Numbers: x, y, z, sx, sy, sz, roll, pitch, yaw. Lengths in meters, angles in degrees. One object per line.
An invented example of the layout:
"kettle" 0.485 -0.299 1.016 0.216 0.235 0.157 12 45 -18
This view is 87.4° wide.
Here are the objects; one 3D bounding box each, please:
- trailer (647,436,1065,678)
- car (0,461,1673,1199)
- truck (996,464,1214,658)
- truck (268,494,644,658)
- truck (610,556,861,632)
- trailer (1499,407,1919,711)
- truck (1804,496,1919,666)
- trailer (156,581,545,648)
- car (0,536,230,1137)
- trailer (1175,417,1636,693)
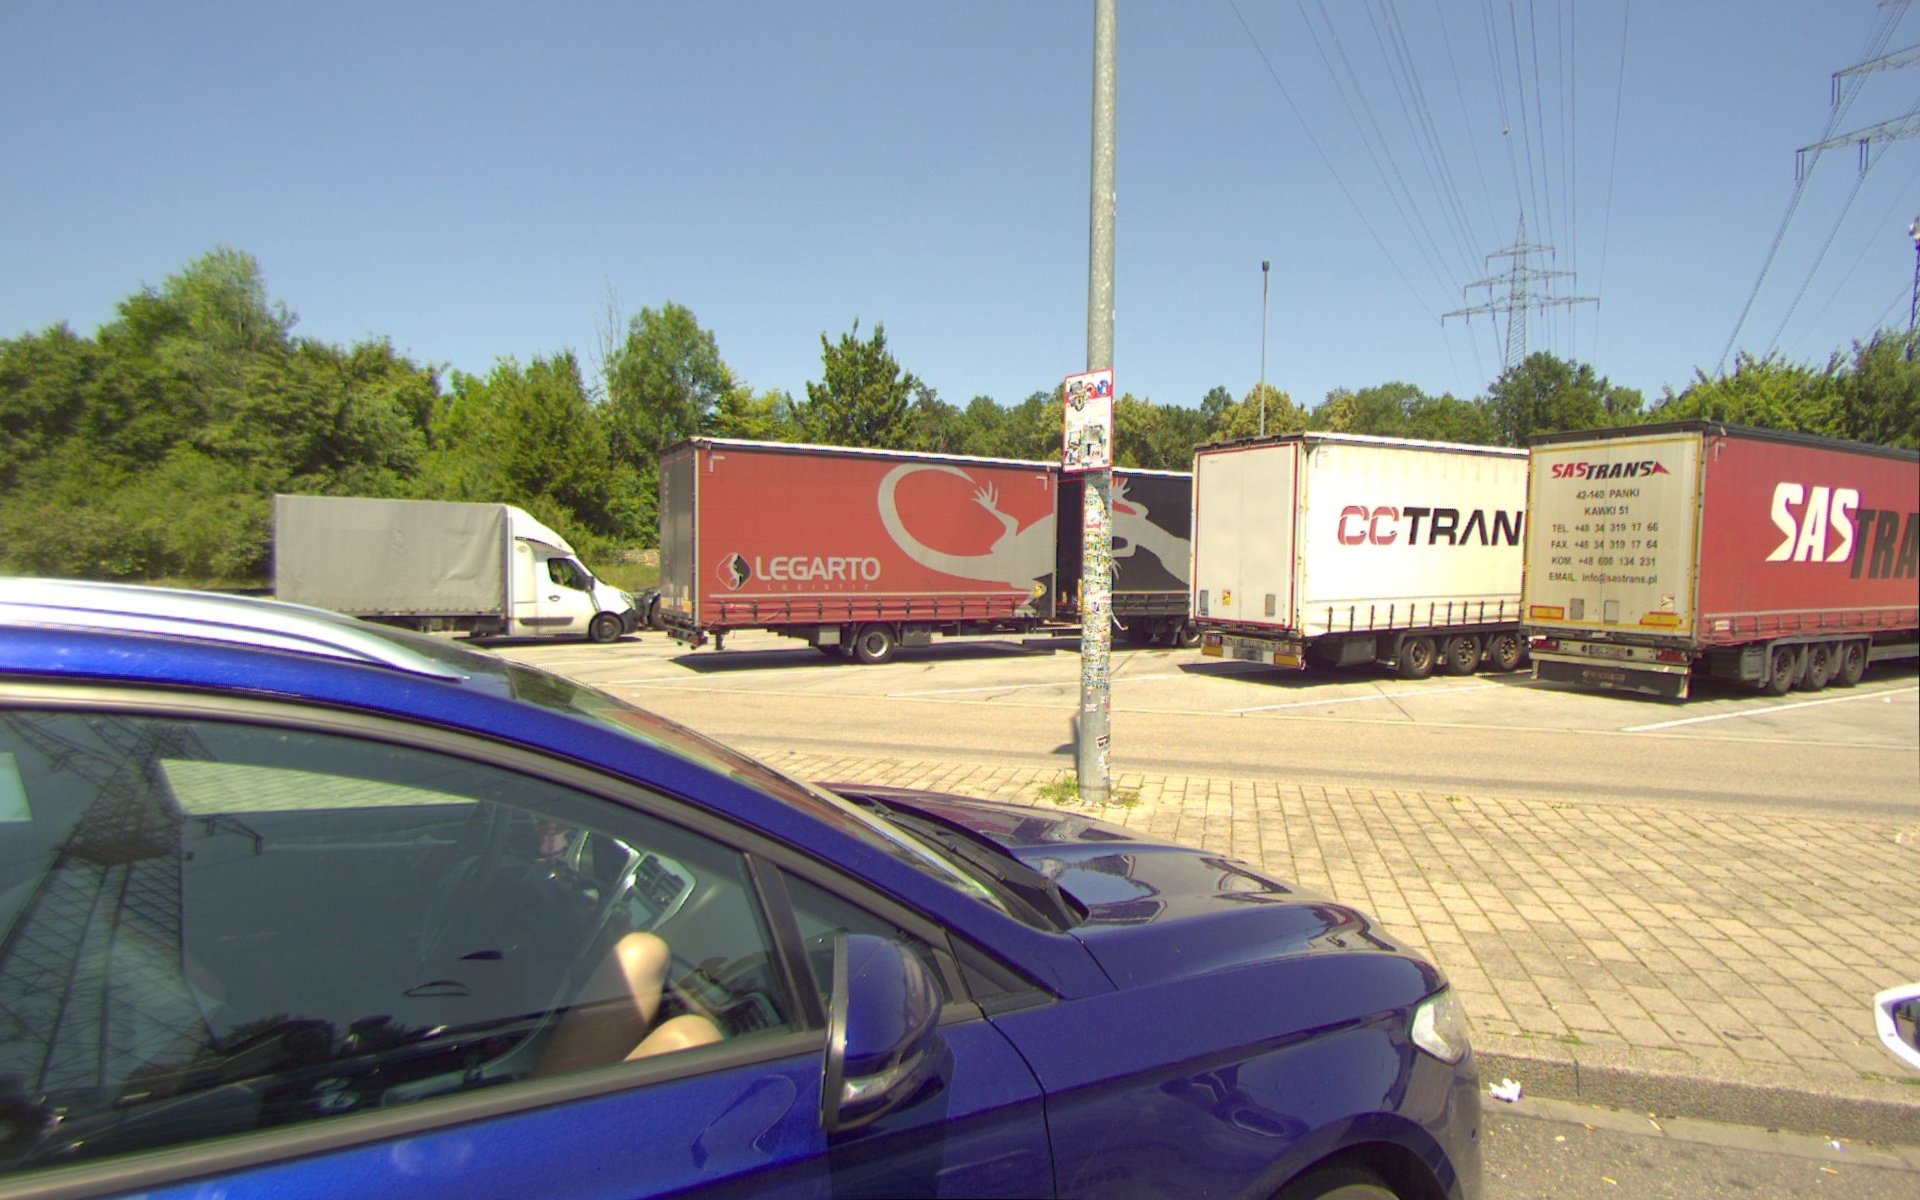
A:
"trailer" -1.927 -0.827 20.264 7.996 4.101 2.696 -1 3 -30
"car" -0.975 0.655 1.468 4.592 1.502 1.727 0 0 -33
"truck" 3.355 -0.901 23.360 4.273 4.072 2.689 -1 3 -30
"truck" -11.204 -0.569 22.898 7.254 3.254 2.515 -1 3 -30
"truck" -6.485 -0.158 29.522 6.961 2.040 1.984 0 0 -31
"trailer" 15.405 -0.701 18.565 13.559 4.189 2.892 -1 3 -30
"truck" 21.726 -0.430 22.311 5.418 3.475 2.838 -1 3 -30
"trailer" -14.832 0.264 25.180 7.996 1.394 2.211 -1 3 -30
"car" -4.549 0.583 2.251 4.592 1.554 1.726 0 1 -33
"trailer" 8.866 -0.818 19.328 10.049 4.267 2.714 -1 3 -30
